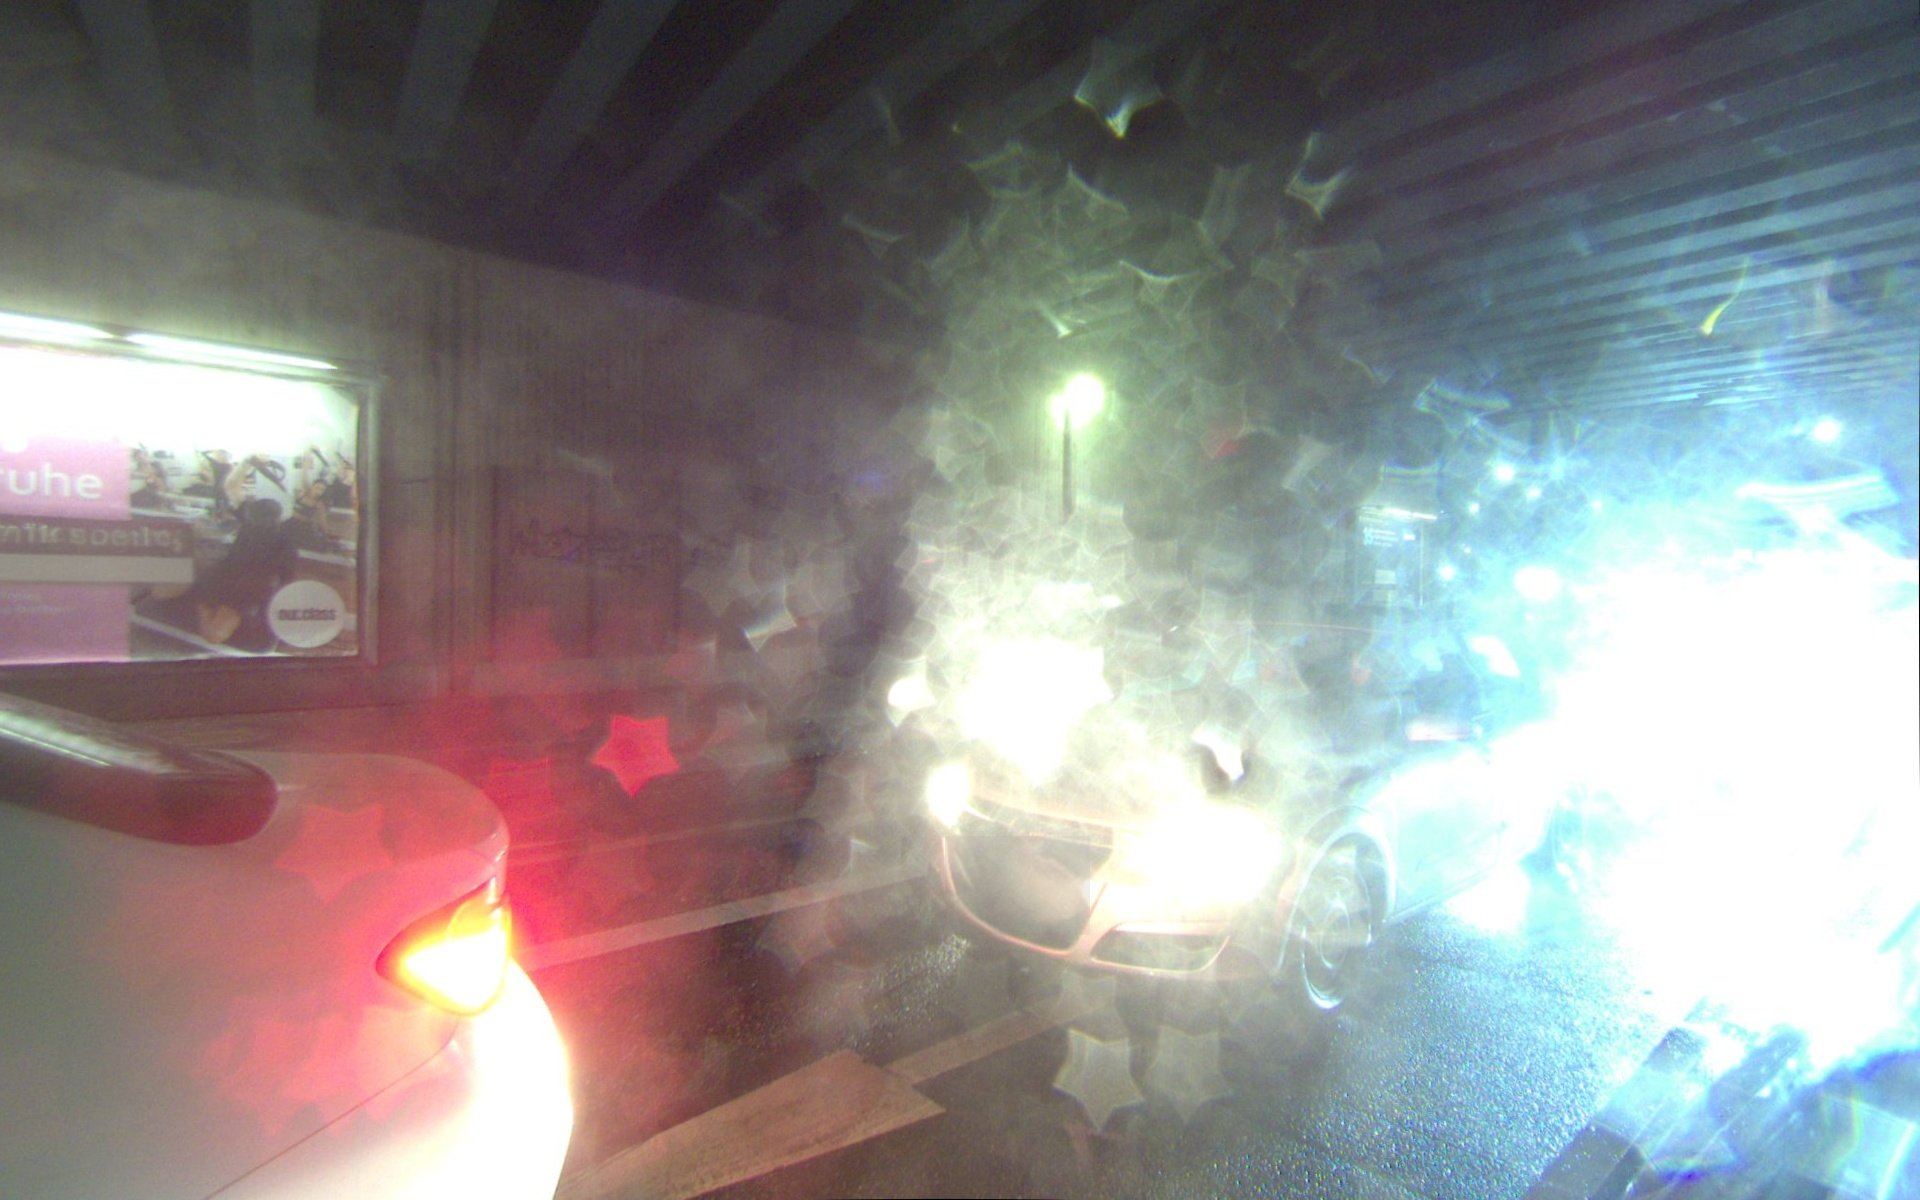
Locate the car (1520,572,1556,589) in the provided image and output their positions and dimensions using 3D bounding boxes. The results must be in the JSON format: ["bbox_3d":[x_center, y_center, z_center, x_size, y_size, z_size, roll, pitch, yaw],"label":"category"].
[{"bbox_3d":[60.681,-2.044,106.320,1.942,1.763,4.898,0,0,14],"label":"car"}]

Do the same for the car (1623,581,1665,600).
[{"bbox_3d":[55.737,-0.779,82.516,1.859,1.490,3.974,0,0,20],"label":"car"}]

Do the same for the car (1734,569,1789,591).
[{"bbox_3d":[65.034,-1.605,82.240,1.946,1.763,4.888,0,0,19],"label":"car"}]

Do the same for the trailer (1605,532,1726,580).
[{"bbox_3d":[69.925,-4.223,100.920,3.902,4.229,13.891,0,0,8],"label":"trailer"}]

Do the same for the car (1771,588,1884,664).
[{"bbox_3d":[18.729,0.490,21.791,1.678,1.490,3.938,0,0,43],"label":"car"}]

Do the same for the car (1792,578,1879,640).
[{"bbox_3d":[24.565,0.207,28.347,1.737,1.610,3.939,0,0,42],"label":"car"}]

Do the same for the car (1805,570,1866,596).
[{"bbox_3d":[62.074,-1.198,71.831,1.887,1.763,4.367,0,0,21],"label":"car"}]

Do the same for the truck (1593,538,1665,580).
[{"bbox_3d":[70.737,-4.286,107.133,3.903,4.229,6.363,0,0,8],"label":"truck"}]

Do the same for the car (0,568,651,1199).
[{"bbox_3d":[-2.692,0.684,0.976,4.273,1.422,1.719,-1,0,-41],"label":"car"}]

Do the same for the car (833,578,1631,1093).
[{"bbox_3d":[1.541,0.626,4.817,3.931,1.384,1.791,-2,2,-41],"label":"car"}]

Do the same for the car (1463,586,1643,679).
[{"bbox_3d":[11.197,0.507,18.976,4.430,1.449,1.849,-2,2,-45],"label":"car"}]

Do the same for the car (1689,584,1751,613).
[{"bbox_3d":[41.645,-0.114,55.543,1.835,1.449,4.463,0,2,26],"label":"car"}]

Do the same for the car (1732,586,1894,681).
[{"bbox_3d":[15.346,0.510,18.146,3.930,1.522,1.628,-1,0,-41],"label":"car"}]

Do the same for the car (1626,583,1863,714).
[{"bbox_3d":[10.750,0.545,13.795,3.701,1.531,1.867,-1,0,-41],"label":"car"}]

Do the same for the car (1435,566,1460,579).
[{"bbox_3d":[66.153,-3.699,137.371,1.940,1.763,4.902,0,0,11],"label":"car"}]

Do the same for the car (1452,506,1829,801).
[{"bbox_3d":[6.495,0.356,9.461,4.274,2.115,1.996,-1,0,-43],"label":"car"}]

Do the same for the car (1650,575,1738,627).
[{"bbox_3d":[22.705,-0.015,31.228,1.846,1.449,4.436,0,2,41],"label":"car"}]

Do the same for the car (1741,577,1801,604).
[{"bbox_3d":[48.555,-0.590,60.707,1.835,1.449,4.463,0,2,26],"label":"car"}]

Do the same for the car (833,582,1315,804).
[{"bbox_3d":[1.215,0.609,8.999,4.426,1.474,1.850,0,1,-43],"label":"car"}]
